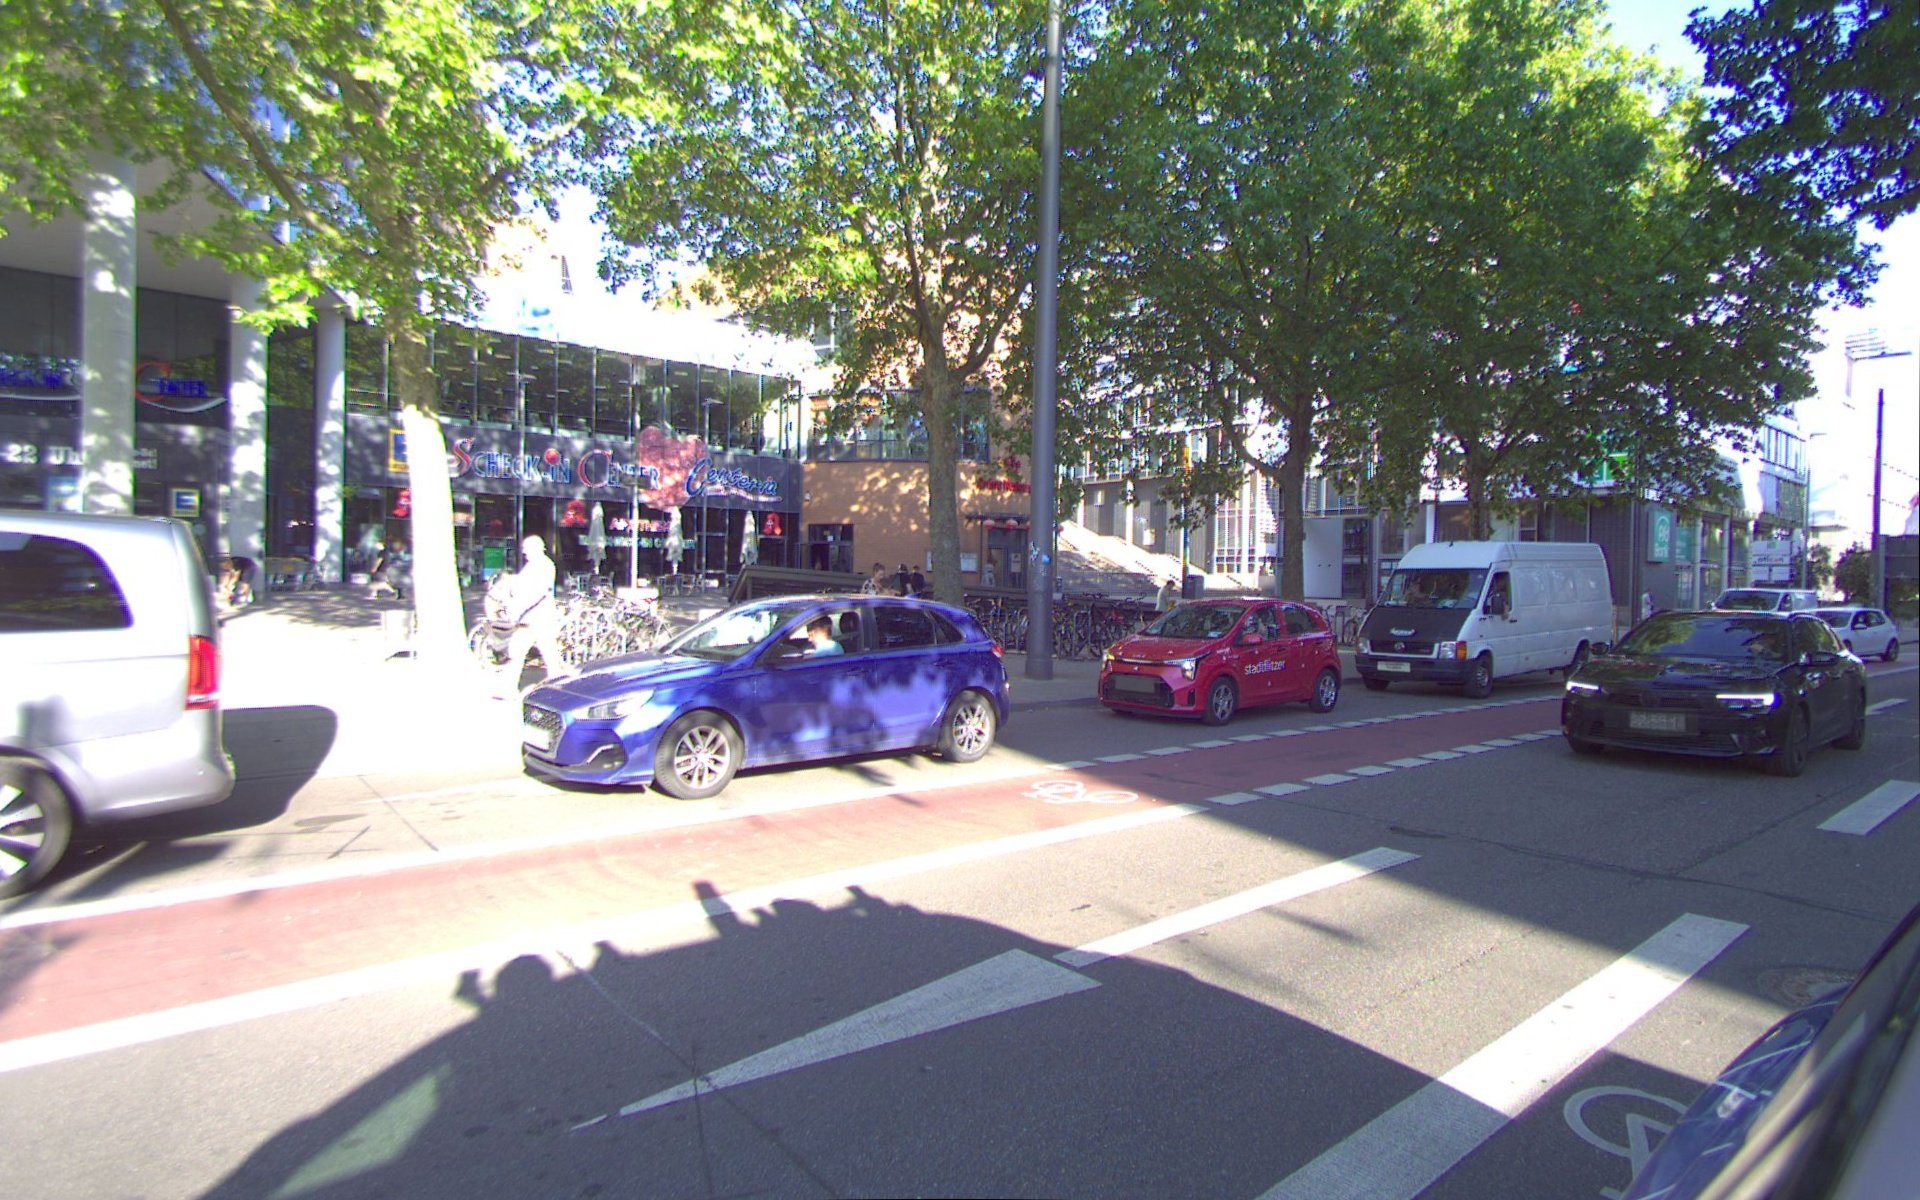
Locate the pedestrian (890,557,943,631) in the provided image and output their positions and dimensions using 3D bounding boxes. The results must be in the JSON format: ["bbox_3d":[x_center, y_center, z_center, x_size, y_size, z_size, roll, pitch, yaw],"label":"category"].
[{"bbox_3d":[-1.066,-0.147,24.916,1.000,1.779,0.789,0,1,-35],"label":"pedestrian"}]

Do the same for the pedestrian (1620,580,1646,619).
[{"bbox_3d":[29.533,-0.021,44.396,0.529,1.697,0.724,1,1,-18],"label":"pedestrian"}]

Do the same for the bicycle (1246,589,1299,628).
[{"bbox_3d":[8.853,0.230,28.657,1.624,1.060,0.597,0,1,-37],"label":"bicycle"}]

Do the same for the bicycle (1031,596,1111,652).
[{"bbox_3d":[2.187,0.449,19.793,1.626,1.044,0.596,0,2,-41],"label":"bicycle"}]

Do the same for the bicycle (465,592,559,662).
[{"bbox_3d":[-6.878,0.402,15.550,1.293,1.038,0.397,1,1,-24],"label":"bicycle"}]

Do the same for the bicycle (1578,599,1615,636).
[{"bbox_3d":[20.660,0.550,32.841,1.511,1.173,0.514,0,1,-39],"label":"bicycle"}]

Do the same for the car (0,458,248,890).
[{"bbox_3d":[-6.265,0.339,4.390,5.047,1.991,1.997,0,0,-41],"label":"car"}]

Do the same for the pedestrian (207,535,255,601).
[{"bbox_3d":[-18.872,-0.823,26.194,0.951,1.661,0.865,0,1,-41],"label":"pedestrian"}]

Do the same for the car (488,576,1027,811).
[{"bbox_3d":[-1.538,0.584,8.567,4.143,1.482,1.768,0,2,-41],"label":"car"}]

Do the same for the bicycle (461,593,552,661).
[{"bbox_3d":[-7.158,0.422,15.995,1.293,1.038,0.397,1,1,-24],"label":"bicycle"}]

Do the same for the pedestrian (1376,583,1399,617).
[{"bbox_3d":[18.923,-0.010,44.811,0.589,1.474,0.713,1,1,-37],"label":"pedestrian"}]

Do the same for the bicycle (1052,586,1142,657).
[{"bbox_3d":[2.623,0.386,19.266,1.843,1.280,0.596,0,1,-41],"label":"bicycle"}]

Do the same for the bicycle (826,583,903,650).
[{"bbox_3d":[-1.729,0.279,18.468,0.478,1.174,1.455,2,1,41],"label":"bicycle"}]

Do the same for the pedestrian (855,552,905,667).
[{"bbox_3d":[-1.300,0.142,16.278,0.644,1.808,0.810,1,1,-14],"label":"pedestrian"}]

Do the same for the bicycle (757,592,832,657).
[{"bbox_3d":[-3.126,0.450,19.188,0.420,1.174,1.455,2,1,41],"label":"bicycle"}]

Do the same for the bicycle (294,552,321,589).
[{"bbox_3d":[-20.776,-0.952,32.245,0.705,1.142,1.921,1,2,-32],"label":"bicycle"}]

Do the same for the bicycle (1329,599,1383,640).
[{"bbox_3d":[10.674,0.506,27.262,1.624,1.060,0.597,0,1,-37],"label":"bicycle"}]

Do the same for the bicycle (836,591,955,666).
[{"bbox_3d":[-1.028,0.451,16.025,1.788,1.130,0.598,1,1,-13],"label":"bicycle"}]

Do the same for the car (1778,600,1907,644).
[{"bbox_3d":[31.391,0.779,36.005,3.937,1.437,1.791,1,1,-21],"label":"car"}]

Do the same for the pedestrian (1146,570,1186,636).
[{"bbox_3d":[5.229,0.063,25.724,0.623,1.651,0.719,1,1,-34],"label":"pedestrian"}]

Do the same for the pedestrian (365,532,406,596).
[{"bbox_3d":[-17.288,-1.070,30.468,0.834,1.866,1.002,1,1,-15],"label":"pedestrian"}]

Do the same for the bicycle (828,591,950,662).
[{"bbox_3d":[-1.177,0.432,16.722,1.908,1.130,0.598,1,1,-13],"label":"bicycle"}]

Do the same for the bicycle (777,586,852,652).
[{"bbox_3d":[-2.687,0.335,18.830,0.420,1.174,1.455,2,1,41],"label":"bicycle"}]

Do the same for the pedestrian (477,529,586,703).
[{"bbox_3d":[-4.707,0.148,11.113,0.871,1.808,0.796,2,1,42],"label":"pedestrian"}]

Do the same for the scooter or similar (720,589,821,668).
[{"bbox_3d":[-2.952,0.438,15.736,1.249,1.156,0.905,-2,0,37],"label":"scooter or similar"}]

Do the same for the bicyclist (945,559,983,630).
[{"bbox_3d":[0.097,-0.129,23.962,0.805,1.636,0.565,1,1,-6],"label":"bicyclist"}]

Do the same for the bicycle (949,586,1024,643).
[{"bbox_3d":[0.579,0.294,21.742,1.662,1.174,0.479,0,1,-37],"label":"bicycle"}]

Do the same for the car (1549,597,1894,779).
[{"bbox_3d":[7.716,0.695,10.111,4.268,1.443,1.826,0,0,-40],"label":"car"}]

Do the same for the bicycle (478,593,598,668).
[{"bbox_3d":[-6.136,0.419,14.750,1.546,1.038,0.461,0,2,-43],"label":"bicycle"}]

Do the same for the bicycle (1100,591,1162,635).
[{"bbox_3d":[4.594,0.337,27.119,1.622,1.140,0.598,0,1,-32],"label":"bicycle"}]

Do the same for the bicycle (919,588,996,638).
[{"bbox_3d":[-0.061,0.298,23.954,1.742,1.140,0.568,1,1,-7],"label":"bicycle"}]

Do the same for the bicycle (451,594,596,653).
[{"bbox_3d":[-7.309,0.390,17.034,2.138,0.945,0.669,1,1,-13],"label":"bicycle"}]

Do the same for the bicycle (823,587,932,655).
[{"bbox_3d":[-1.426,0.355,17.499,1.788,1.130,0.598,1,1,-13],"label":"bicycle"}]

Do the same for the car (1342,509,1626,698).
[{"bbox_3d":[9.278,0.048,17.567,6.443,2.759,1.998,0,0,-39],"label":"car"}]

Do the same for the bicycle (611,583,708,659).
[{"bbox_3d":[-4.837,0.323,16.342,1.451,1.174,0.421,0,1,-42],"label":"bicycle"}]

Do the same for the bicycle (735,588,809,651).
[{"bbox_3d":[-3.616,0.360,19.561,0.420,1.174,1.455,2,1,41],"label":"bicycle"}]

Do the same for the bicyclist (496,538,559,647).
[{"bbox_3d":[-7.262,-0.133,17.041,0.834,1.789,0.754,1,1,-13],"label":"bicyclist"}]

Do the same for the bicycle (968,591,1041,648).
[{"bbox_3d":[0.951,0.386,21.341,1.626,1.151,0.503,0,1,-41],"label":"bicycle"}]

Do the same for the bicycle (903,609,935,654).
[{"bbox_3d":[-0.762,0.568,18.727,0.391,0.770,1.114,1,1,-13],"label":"bicycle"}]

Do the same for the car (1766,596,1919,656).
[{"bbox_3d":[23.915,0.671,27.418,3.788,1.482,1.676,1,1,-24],"label":"car"}]

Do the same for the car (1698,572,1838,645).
[{"bbox_3d":[26.263,0.234,32.835,5.189,2.160,2.130,0,2,-35],"label":"car"}]

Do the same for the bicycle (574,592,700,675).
[{"bbox_3d":[-4.454,0.438,14.000,1.542,1.070,0.630,0,1,-35],"label":"bicycle"}]

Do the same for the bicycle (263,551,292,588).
[{"bbox_3d":[-21.401,-0.961,31.753,0.705,1.142,1.921,1,2,-32],"label":"bicycle"}]

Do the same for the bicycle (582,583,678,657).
[{"bbox_3d":[-5.435,0.310,16.700,1.450,1.174,0.421,0,1,-40],"label":"bicycle"}]

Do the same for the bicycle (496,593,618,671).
[{"bbox_3d":[-5.695,0.429,14.346,1.546,1.038,0.461,0,2,-43],"label":"bicycle"}]

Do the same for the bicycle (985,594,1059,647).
[{"bbox_3d":[1.297,0.410,20.893,1.626,1.044,0.503,0,1,-41],"label":"bicycle"}]

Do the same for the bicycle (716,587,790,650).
[{"bbox_3d":[-4.055,0.348,19.886,0.420,1.174,1.455,2,1,41],"label":"bicycle"}]

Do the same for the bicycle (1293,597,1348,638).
[{"bbox_3d":[9.898,0.464,27.781,1.624,1.060,0.597,0,1,-37],"label":"bicycle"}]

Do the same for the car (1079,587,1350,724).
[{"bbox_3d":[3.291,0.595,12.778,3.558,1.482,1.561,0,1,-41],"label":"car"}]

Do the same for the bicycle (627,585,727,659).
[{"bbox_3d":[-4.377,0.329,15.703,1.451,1.095,0.421,0,1,-42],"label":"bicycle"}]

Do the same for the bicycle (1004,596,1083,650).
[{"bbox_3d":[1.698,0.445,20.387,1.626,1.044,0.596,0,2,-41],"label":"bicycle"}]

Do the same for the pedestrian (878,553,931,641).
[{"bbox_3d":[-1.157,-0.077,21.076,0.756,1.779,0.820,0,1,-35],"label":"pedestrian"}]
